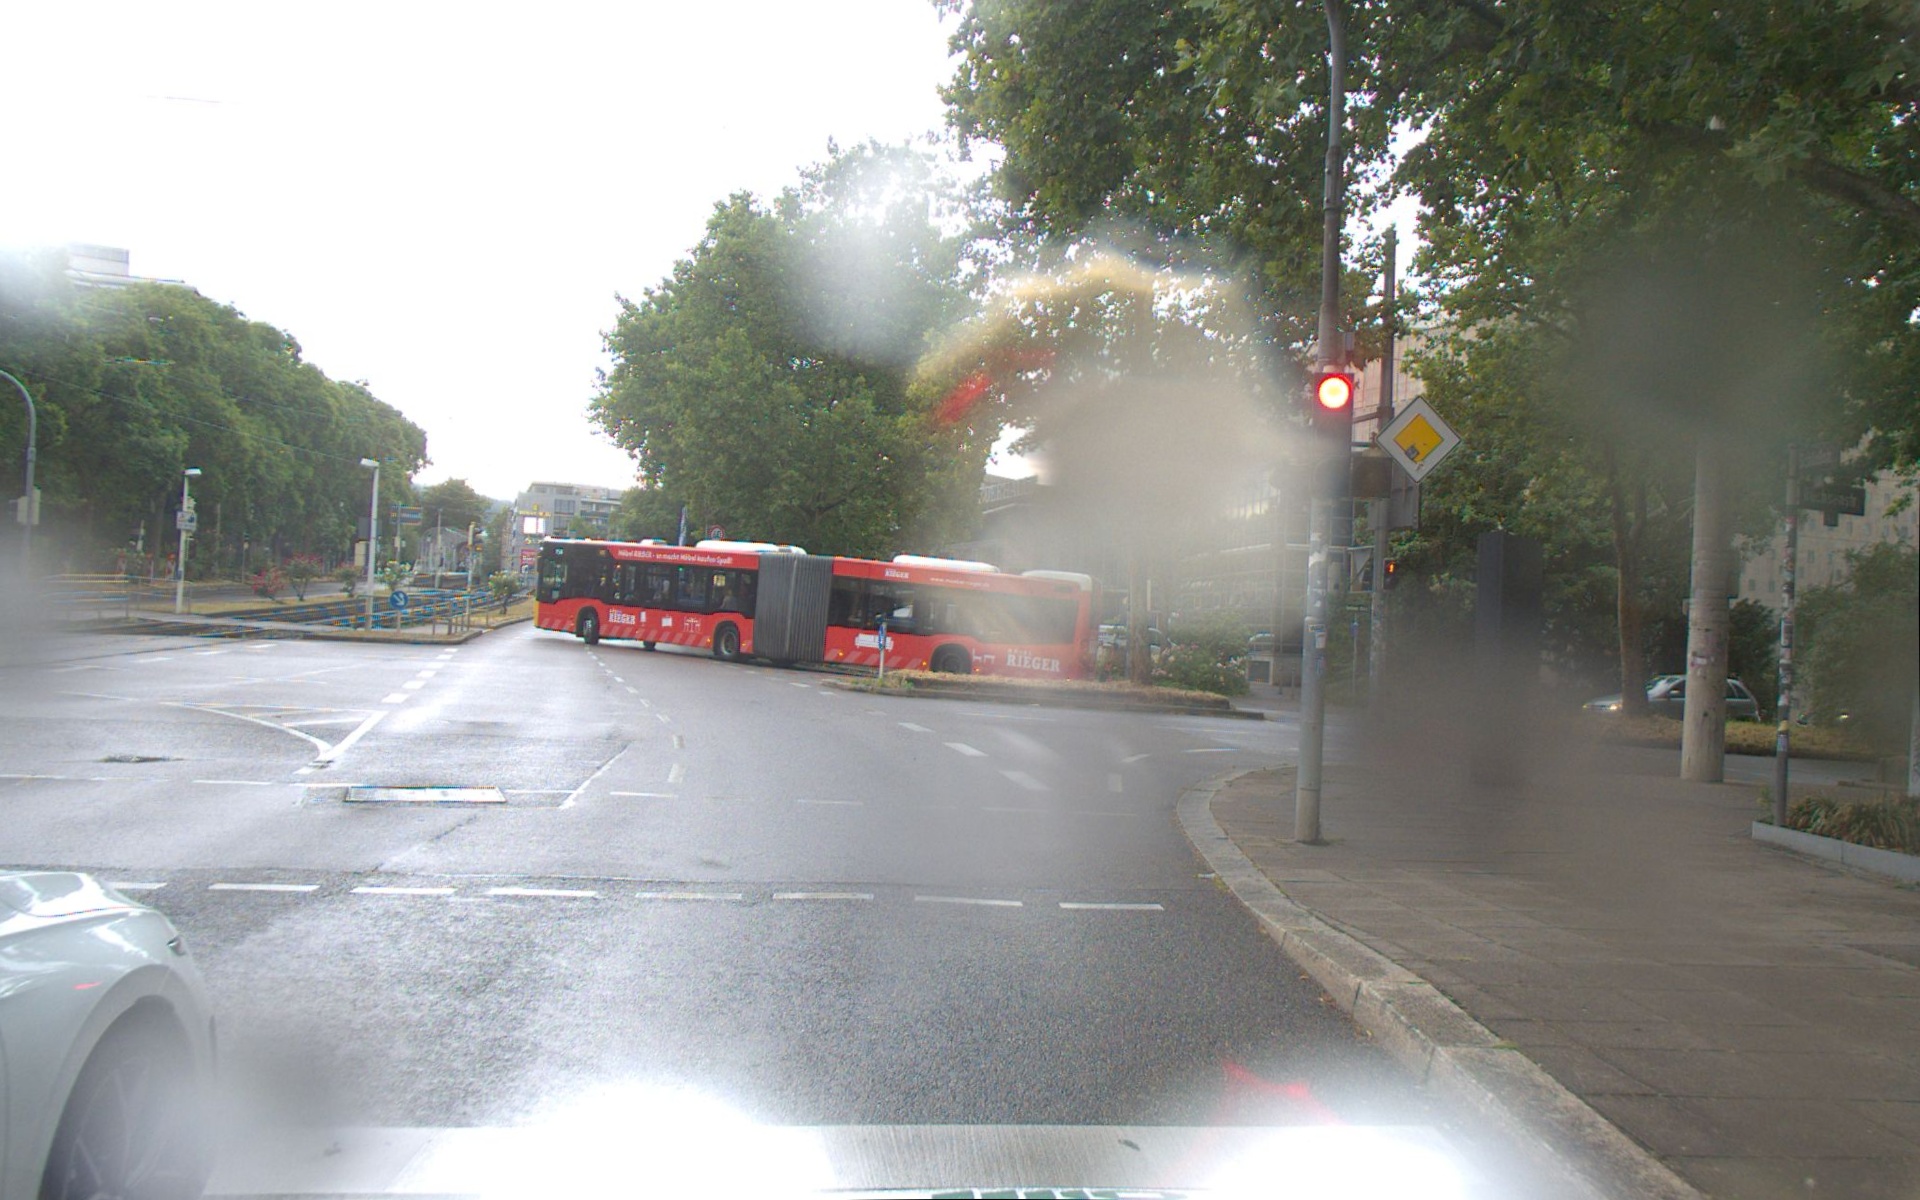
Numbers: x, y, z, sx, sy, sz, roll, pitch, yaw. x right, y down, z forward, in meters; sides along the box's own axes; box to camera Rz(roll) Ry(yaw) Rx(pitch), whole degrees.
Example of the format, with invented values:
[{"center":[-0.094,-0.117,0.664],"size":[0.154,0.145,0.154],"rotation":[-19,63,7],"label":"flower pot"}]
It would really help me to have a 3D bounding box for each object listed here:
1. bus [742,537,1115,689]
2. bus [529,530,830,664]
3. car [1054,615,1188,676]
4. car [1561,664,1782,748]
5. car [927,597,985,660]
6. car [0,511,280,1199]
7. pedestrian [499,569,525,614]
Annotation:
[{"center":[-0.787,0.319,42.281],"size":[8.962,3.165,2.665],"rotation":[4,-1,14],"label":"bus"},{"center":[-8.035,-0.157,46.422],"size":[9.272,3.165,2.548],"rotation":[3,-1,37],"label":"bus"},{"center":[6.190,1.760,63.733],"size":[4.682,1.977,1.986],"rotation":[5,-1,-23],"label":"car"},{"center":[15.536,2.300,36.227],"size":[3.912,1.467,1.997],"rotation":[4,-1,-7],"label":"car"},{"center":[-0.257,1.572,92.143],"size":[2.496,3.188,5.024],"rotation":[4,-1,-6],"label":"car"},{"center":[-2.240,0.650,1.331],"size":[1.645,1.604,4.252],"rotation":[2,0,-1],"label":"car"},{"center":[-17.121,-0.306,63.273],"size":[0.724,1.668,0.869],"rotation":[4,-1,-7],"label":"pedestrian"}]
